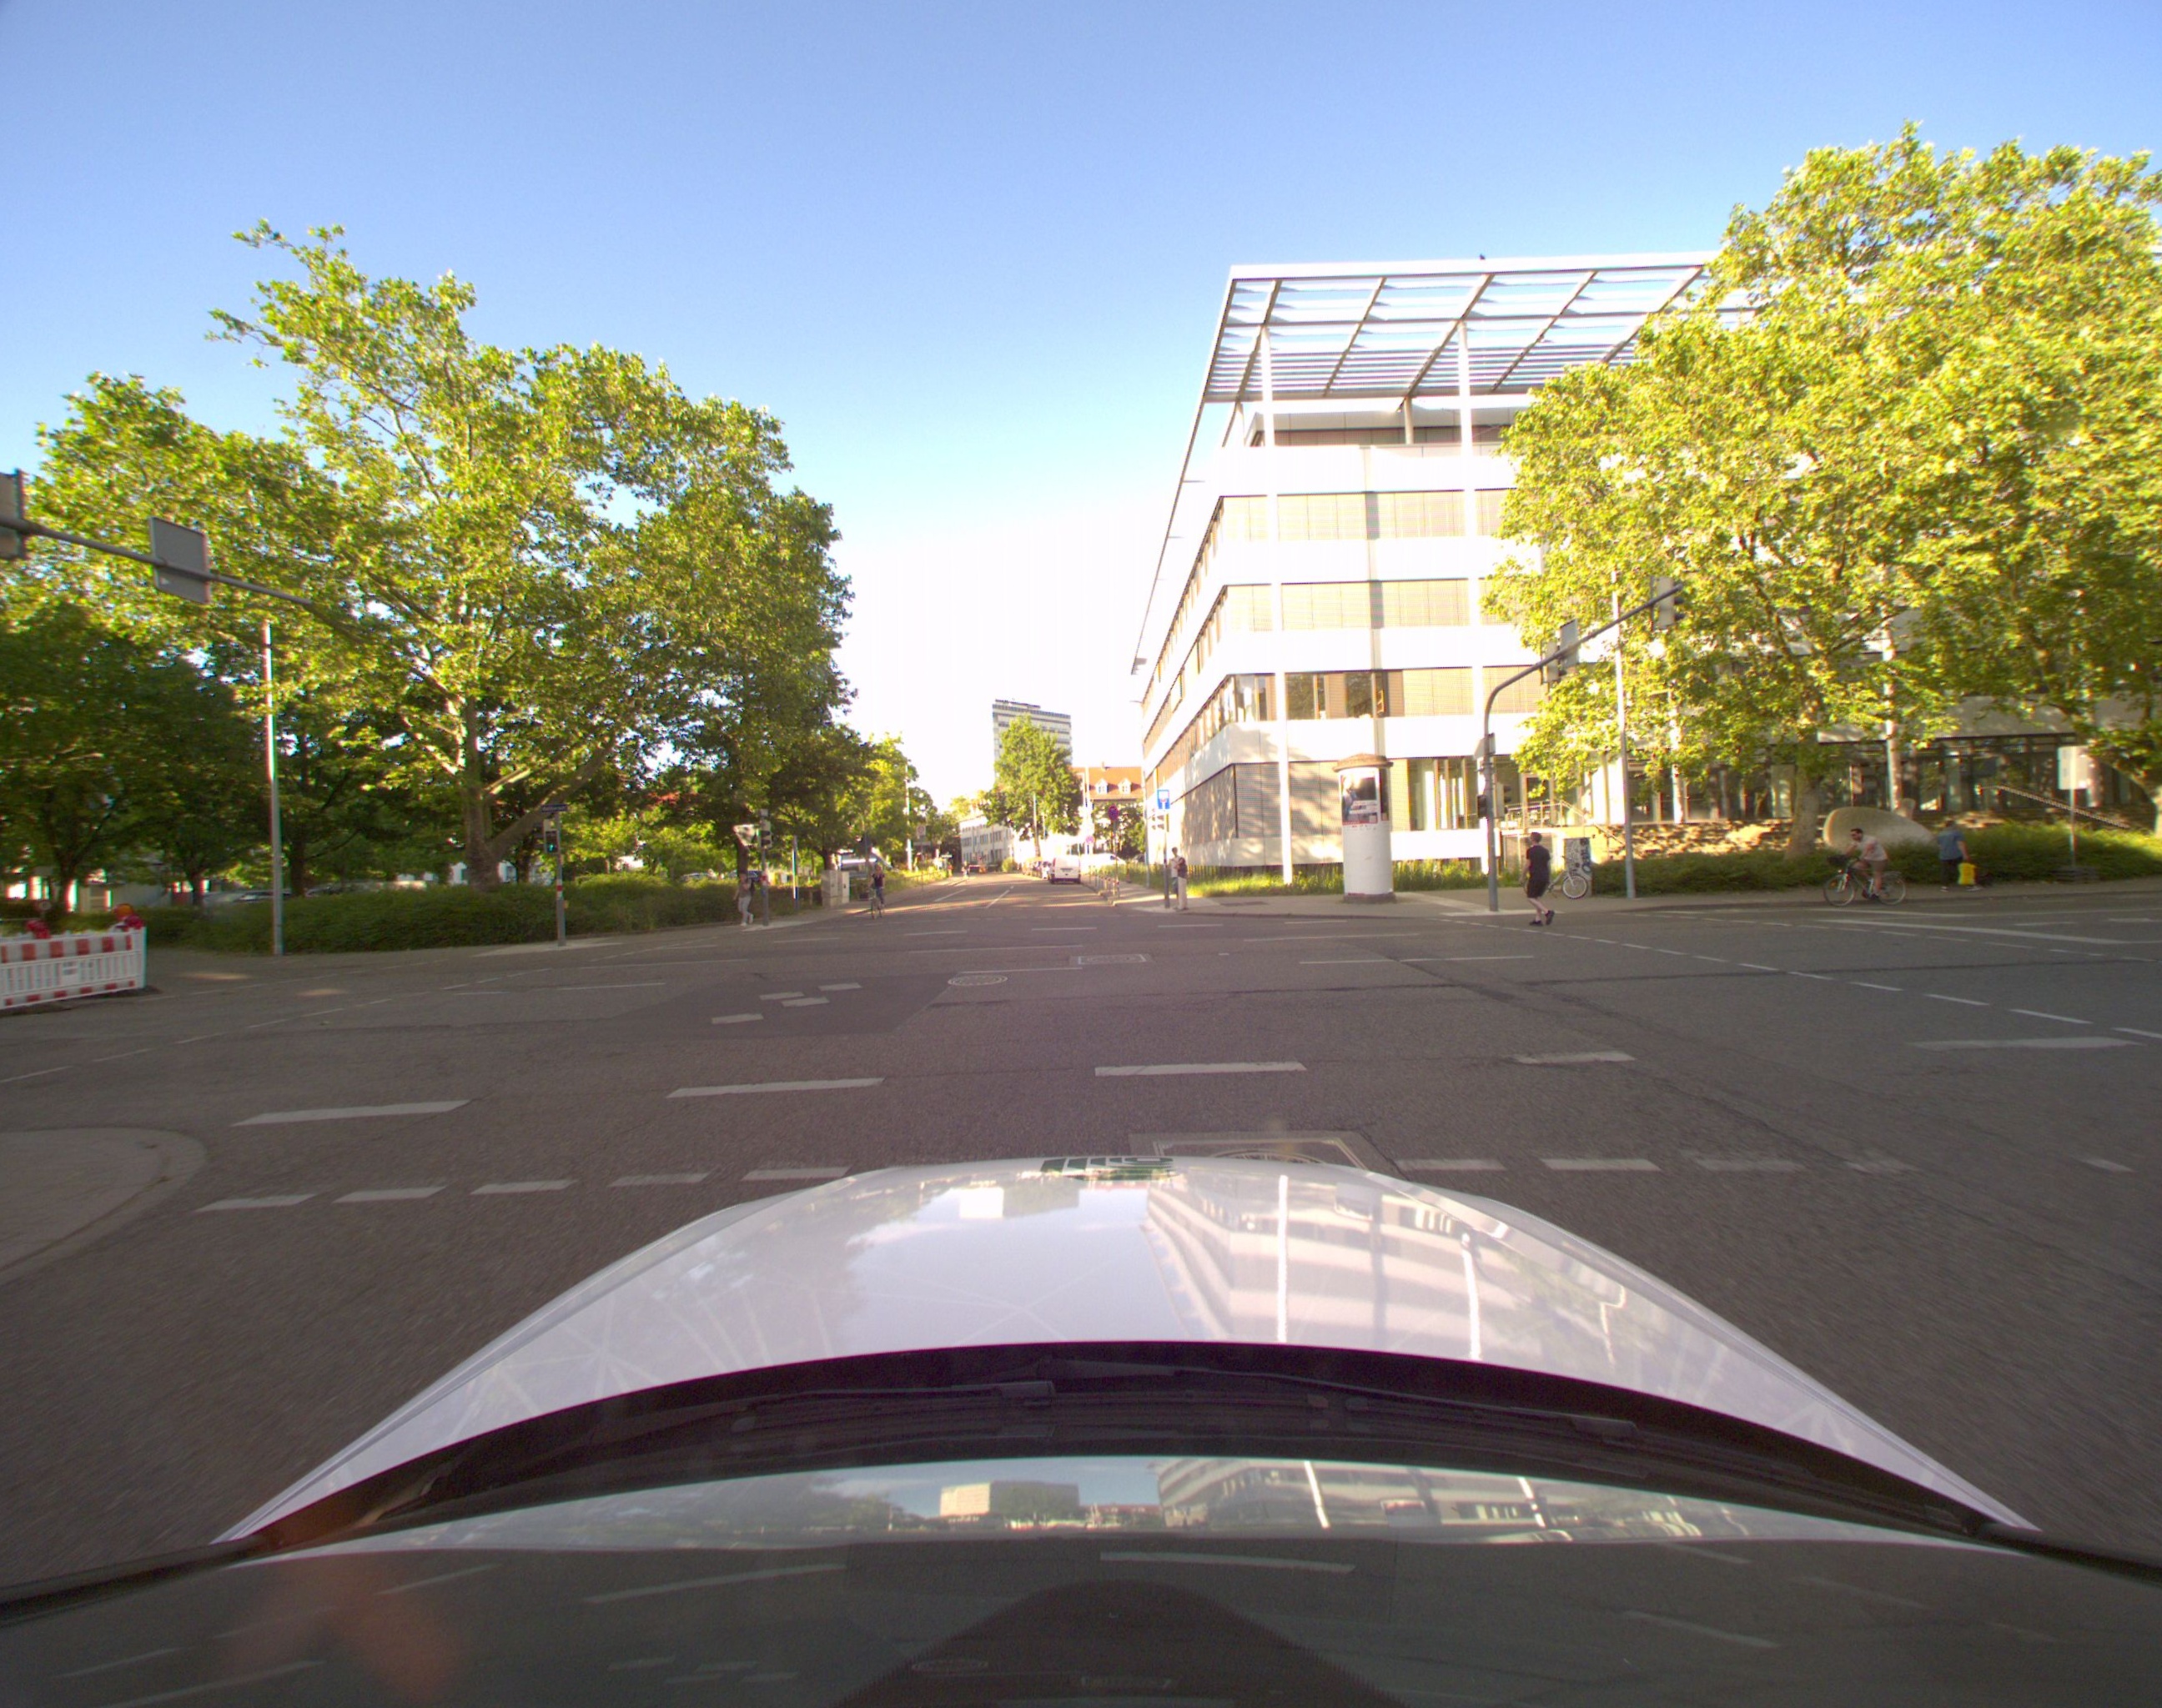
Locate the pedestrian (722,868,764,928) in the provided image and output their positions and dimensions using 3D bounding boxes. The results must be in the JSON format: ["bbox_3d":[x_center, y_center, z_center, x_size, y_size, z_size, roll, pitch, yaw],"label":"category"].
[{"bbox_3d":[-10.237,1.324,24.710,0.699,1.723,0.957,-3,-1,9],"label":"pedestrian"}]

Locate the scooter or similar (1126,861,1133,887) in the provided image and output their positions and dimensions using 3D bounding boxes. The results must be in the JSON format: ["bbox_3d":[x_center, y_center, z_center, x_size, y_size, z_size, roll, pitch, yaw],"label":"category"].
[{"bbox_3d":[2.745,1.110,45.810,0.329,1.424,1.335,0,-1,1],"label":"scooter or similar"}]

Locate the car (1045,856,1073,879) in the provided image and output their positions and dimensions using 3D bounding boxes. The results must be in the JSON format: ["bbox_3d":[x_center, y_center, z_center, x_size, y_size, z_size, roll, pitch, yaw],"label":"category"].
[{"bbox_3d":[-1.658,0.951,60.728,1.884,1.555,4.409,-2,1,-4],"label":"car"}]

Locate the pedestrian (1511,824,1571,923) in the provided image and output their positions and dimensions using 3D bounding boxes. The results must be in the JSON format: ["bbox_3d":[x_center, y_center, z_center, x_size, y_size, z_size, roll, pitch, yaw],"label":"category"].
[{"bbox_3d":[8.764,0.358,15.553,0.703,1.840,0.839,-1,0,6],"label":"pedestrian"}]

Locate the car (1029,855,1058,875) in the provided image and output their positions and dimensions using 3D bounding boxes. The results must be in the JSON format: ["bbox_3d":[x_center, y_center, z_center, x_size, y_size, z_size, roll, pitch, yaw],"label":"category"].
[{"bbox_3d":[-3.394,0.964,73.607,1.890,1.655,4.397,-2,1,-12],"label":"car"}]

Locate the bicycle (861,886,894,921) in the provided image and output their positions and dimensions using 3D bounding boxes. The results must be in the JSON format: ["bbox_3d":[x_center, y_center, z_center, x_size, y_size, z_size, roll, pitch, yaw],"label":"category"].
[{"bbox_3d":[-6.444,1.548,25.820,0.614,0.970,1.839,-3,0,-2],"label":"bicycle"}]

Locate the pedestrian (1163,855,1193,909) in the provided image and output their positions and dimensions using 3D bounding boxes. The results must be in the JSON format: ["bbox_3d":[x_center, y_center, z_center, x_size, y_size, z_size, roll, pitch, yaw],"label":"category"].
[{"bbox_3d":[2.895,0.821,24.287,0.560,1.540,0.674,-5,0,-12],"label":"pedestrian"}]

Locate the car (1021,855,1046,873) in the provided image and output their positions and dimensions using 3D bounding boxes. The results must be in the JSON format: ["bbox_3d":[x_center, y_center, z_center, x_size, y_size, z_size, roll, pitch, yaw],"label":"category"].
[{"bbox_3d":[-4.890,1.021,83.760,1.890,1.655,4.397,-2,1,-12],"label":"car"}]

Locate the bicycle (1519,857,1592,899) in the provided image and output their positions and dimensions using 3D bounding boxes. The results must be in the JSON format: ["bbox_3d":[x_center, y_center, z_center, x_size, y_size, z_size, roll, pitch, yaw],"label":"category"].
[{"bbox_3d":[12.853,0.620,22.118,0.510,1.049,1.672,-4,2,-29],"label":"bicycle"}]

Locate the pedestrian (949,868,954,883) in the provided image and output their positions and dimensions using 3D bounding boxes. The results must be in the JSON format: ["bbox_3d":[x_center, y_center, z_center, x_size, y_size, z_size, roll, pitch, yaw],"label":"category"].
[{"bbox_3d":[-13.808,2.310,87.038,0.433,1.608,0.491,-2,-1,-8],"label":"pedestrian"}]

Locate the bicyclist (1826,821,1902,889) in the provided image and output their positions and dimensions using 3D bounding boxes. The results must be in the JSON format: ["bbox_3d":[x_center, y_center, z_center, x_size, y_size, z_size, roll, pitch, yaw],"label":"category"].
[{"bbox_3d":[17.856,0.015,18.592,0.949,1.489,0.749,-2,-1,-1],"label":"bicyclist"}]

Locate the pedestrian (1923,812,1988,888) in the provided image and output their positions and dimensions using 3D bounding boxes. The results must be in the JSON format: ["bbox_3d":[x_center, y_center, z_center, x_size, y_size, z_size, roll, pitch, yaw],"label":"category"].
[{"bbox_3d":[21.546,-0.102,20.074,0.833,1.840,0.708,0,0,-4],"label":"pedestrian"}]

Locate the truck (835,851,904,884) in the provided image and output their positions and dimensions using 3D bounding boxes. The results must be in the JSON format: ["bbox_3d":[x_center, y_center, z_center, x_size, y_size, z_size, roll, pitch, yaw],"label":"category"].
[{"bbox_3d":[-16.679,1.061,64.433,4.818,2.399,2.085,-2,0,-4],"label":"truck"}]

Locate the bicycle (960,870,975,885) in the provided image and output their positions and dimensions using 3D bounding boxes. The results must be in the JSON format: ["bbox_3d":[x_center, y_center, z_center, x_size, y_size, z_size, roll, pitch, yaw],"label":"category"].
[{"bbox_3d":[-8.701,1.791,62.461,0.864,1.009,2.410,-5,-1,-5],"label":"bicycle"}]

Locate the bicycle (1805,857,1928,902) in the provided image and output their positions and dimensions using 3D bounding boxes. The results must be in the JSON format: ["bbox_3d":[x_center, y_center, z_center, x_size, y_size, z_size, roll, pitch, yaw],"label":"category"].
[{"bbox_3d":[17.917,0.570,18.599,2.105,0.927,0.731,-2,0,-1],"label":"bicycle"}]

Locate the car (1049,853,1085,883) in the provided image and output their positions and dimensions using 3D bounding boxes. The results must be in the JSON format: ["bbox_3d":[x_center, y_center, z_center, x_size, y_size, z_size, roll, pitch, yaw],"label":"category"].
[{"bbox_3d":[-0.968,0.847,52.499,2.081,1.795,4.409,-2,1,-4],"label":"car"}]

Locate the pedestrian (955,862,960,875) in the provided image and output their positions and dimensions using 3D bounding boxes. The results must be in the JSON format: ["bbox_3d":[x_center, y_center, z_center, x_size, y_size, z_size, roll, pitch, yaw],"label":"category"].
[{"bbox_3d":[-15.853,1.857,104.189,0.545,1.677,0.474,-2,-1,-11],"label":"pedestrian"}]

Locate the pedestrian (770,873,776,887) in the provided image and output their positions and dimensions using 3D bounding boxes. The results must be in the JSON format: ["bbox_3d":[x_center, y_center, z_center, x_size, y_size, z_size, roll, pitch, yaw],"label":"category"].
[{"bbox_3d":[-31.315,2.652,82.781,0.560,1.323,0.573,-2,-1,-20],"label":"pedestrian"}]

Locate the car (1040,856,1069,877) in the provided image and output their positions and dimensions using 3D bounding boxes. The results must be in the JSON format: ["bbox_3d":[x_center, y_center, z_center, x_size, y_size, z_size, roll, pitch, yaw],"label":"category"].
[{"bbox_3d":[-2.186,0.960,66.188,1.886,1.555,4.405,-2,1,-7],"label":"car"}]

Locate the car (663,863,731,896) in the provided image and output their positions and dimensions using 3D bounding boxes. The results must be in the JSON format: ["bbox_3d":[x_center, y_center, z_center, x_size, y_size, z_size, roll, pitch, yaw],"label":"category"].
[{"bbox_3d":[-32.002,2.117,67.886,4.544,2.391,2.072,-3,-1,-3],"label":"car"}]

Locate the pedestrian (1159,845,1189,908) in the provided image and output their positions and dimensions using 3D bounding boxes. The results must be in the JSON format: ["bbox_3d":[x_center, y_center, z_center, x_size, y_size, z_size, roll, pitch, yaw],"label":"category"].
[{"bbox_3d":[2.849,0.667,24.903,0.554,1.850,0.681,-5,0,22],"label":"pedestrian"}]

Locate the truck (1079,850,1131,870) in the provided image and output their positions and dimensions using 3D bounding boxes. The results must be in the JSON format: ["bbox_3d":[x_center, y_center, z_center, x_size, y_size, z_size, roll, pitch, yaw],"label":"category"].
[{"bbox_3d":[2.662,0.709,90.618,5.343,2.014,1.991,-2,-1,-13],"label":"truck"}]

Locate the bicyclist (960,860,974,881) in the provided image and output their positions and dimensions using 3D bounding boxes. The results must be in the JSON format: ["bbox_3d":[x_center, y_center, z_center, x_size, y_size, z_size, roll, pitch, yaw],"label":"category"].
[{"bbox_3d":[-8.735,1.265,62.484,0.864,1.515,1.017,-5,-1,-5],"label":"bicyclist"}]

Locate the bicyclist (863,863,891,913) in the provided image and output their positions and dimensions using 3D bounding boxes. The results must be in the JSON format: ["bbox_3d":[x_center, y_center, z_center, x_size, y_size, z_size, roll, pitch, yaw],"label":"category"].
[{"bbox_3d":[-6.463,1.054,25.838,0.614,1.532,0.902,-3,-1,-3],"label":"bicyclist"}]

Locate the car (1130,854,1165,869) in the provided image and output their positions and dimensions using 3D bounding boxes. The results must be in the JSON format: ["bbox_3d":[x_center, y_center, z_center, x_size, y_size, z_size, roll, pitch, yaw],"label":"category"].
[{"bbox_3d":[7.473,0.815,91.328,3.558,1.546,1.551,-2,-1,-13],"label":"car"}]
